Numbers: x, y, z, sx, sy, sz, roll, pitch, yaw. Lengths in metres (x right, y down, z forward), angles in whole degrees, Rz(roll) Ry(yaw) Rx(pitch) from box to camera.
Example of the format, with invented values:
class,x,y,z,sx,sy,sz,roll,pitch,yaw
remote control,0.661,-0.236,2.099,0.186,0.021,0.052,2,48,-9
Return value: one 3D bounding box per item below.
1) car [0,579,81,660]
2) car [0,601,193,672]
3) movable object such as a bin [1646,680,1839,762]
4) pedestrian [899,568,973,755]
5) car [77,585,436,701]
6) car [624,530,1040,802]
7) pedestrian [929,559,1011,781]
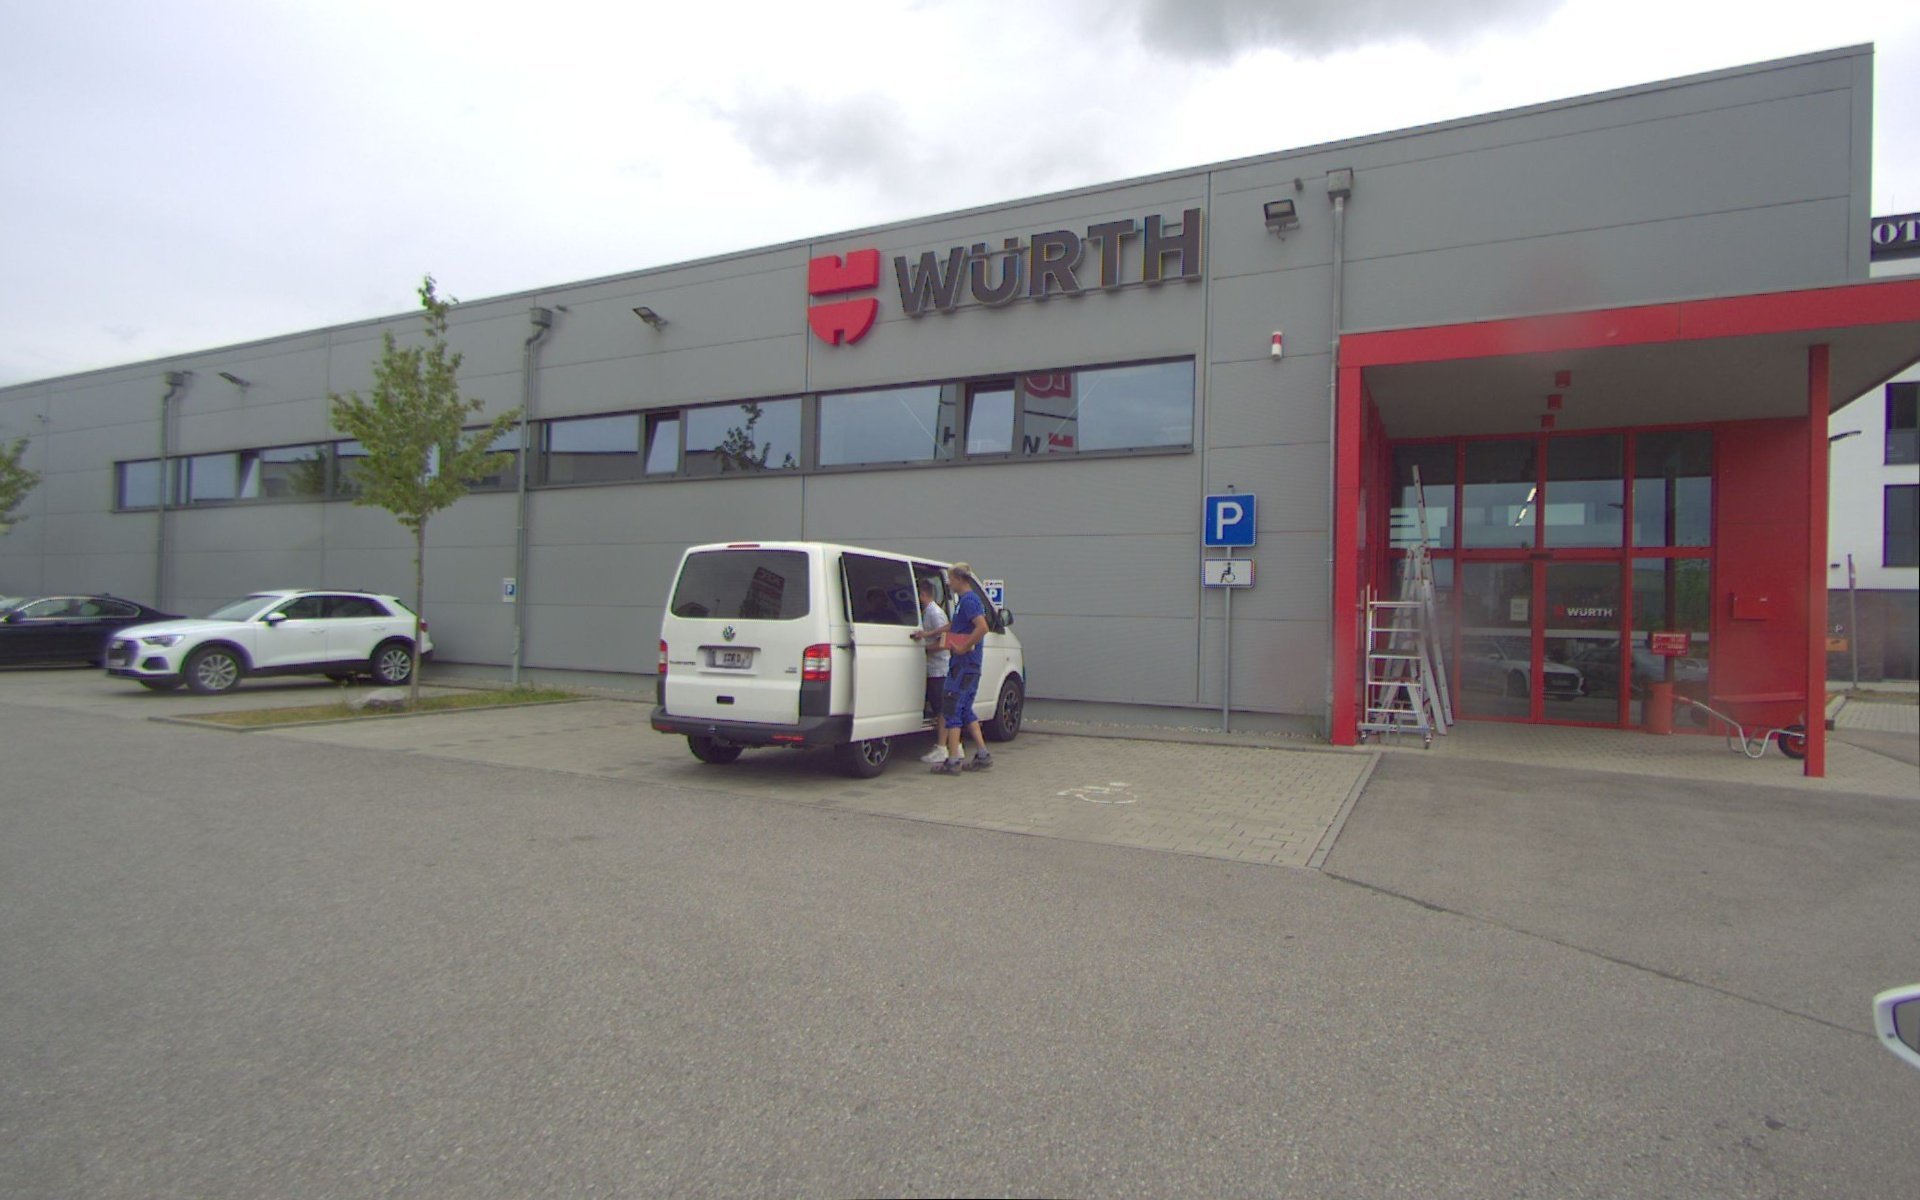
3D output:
class,x,y,z,sx,sy,sz,roll,pitch,yaw
car,-21.547,0.386,21.229,1.962,1.728,3.998,2,0,24
car,-17.823,0.670,19.200,1.727,1.278,4.733,1,-1,30
movable object such as a bin,8.542,1.302,11.055,1.556,0.725,0.802,1,-1,29
pedestrian,-0.231,0.569,9.575,0.575,1.724,0.360,1,0,29
car,-11.032,0.631,16.138,1.727,1.576,4.404,1,-1,30
car,-0.921,0.513,10.112,1.901,2.040,4.755,2,0,25
pedestrian,0.101,0.597,8.913,0.577,1.881,0.626,2,0,10
